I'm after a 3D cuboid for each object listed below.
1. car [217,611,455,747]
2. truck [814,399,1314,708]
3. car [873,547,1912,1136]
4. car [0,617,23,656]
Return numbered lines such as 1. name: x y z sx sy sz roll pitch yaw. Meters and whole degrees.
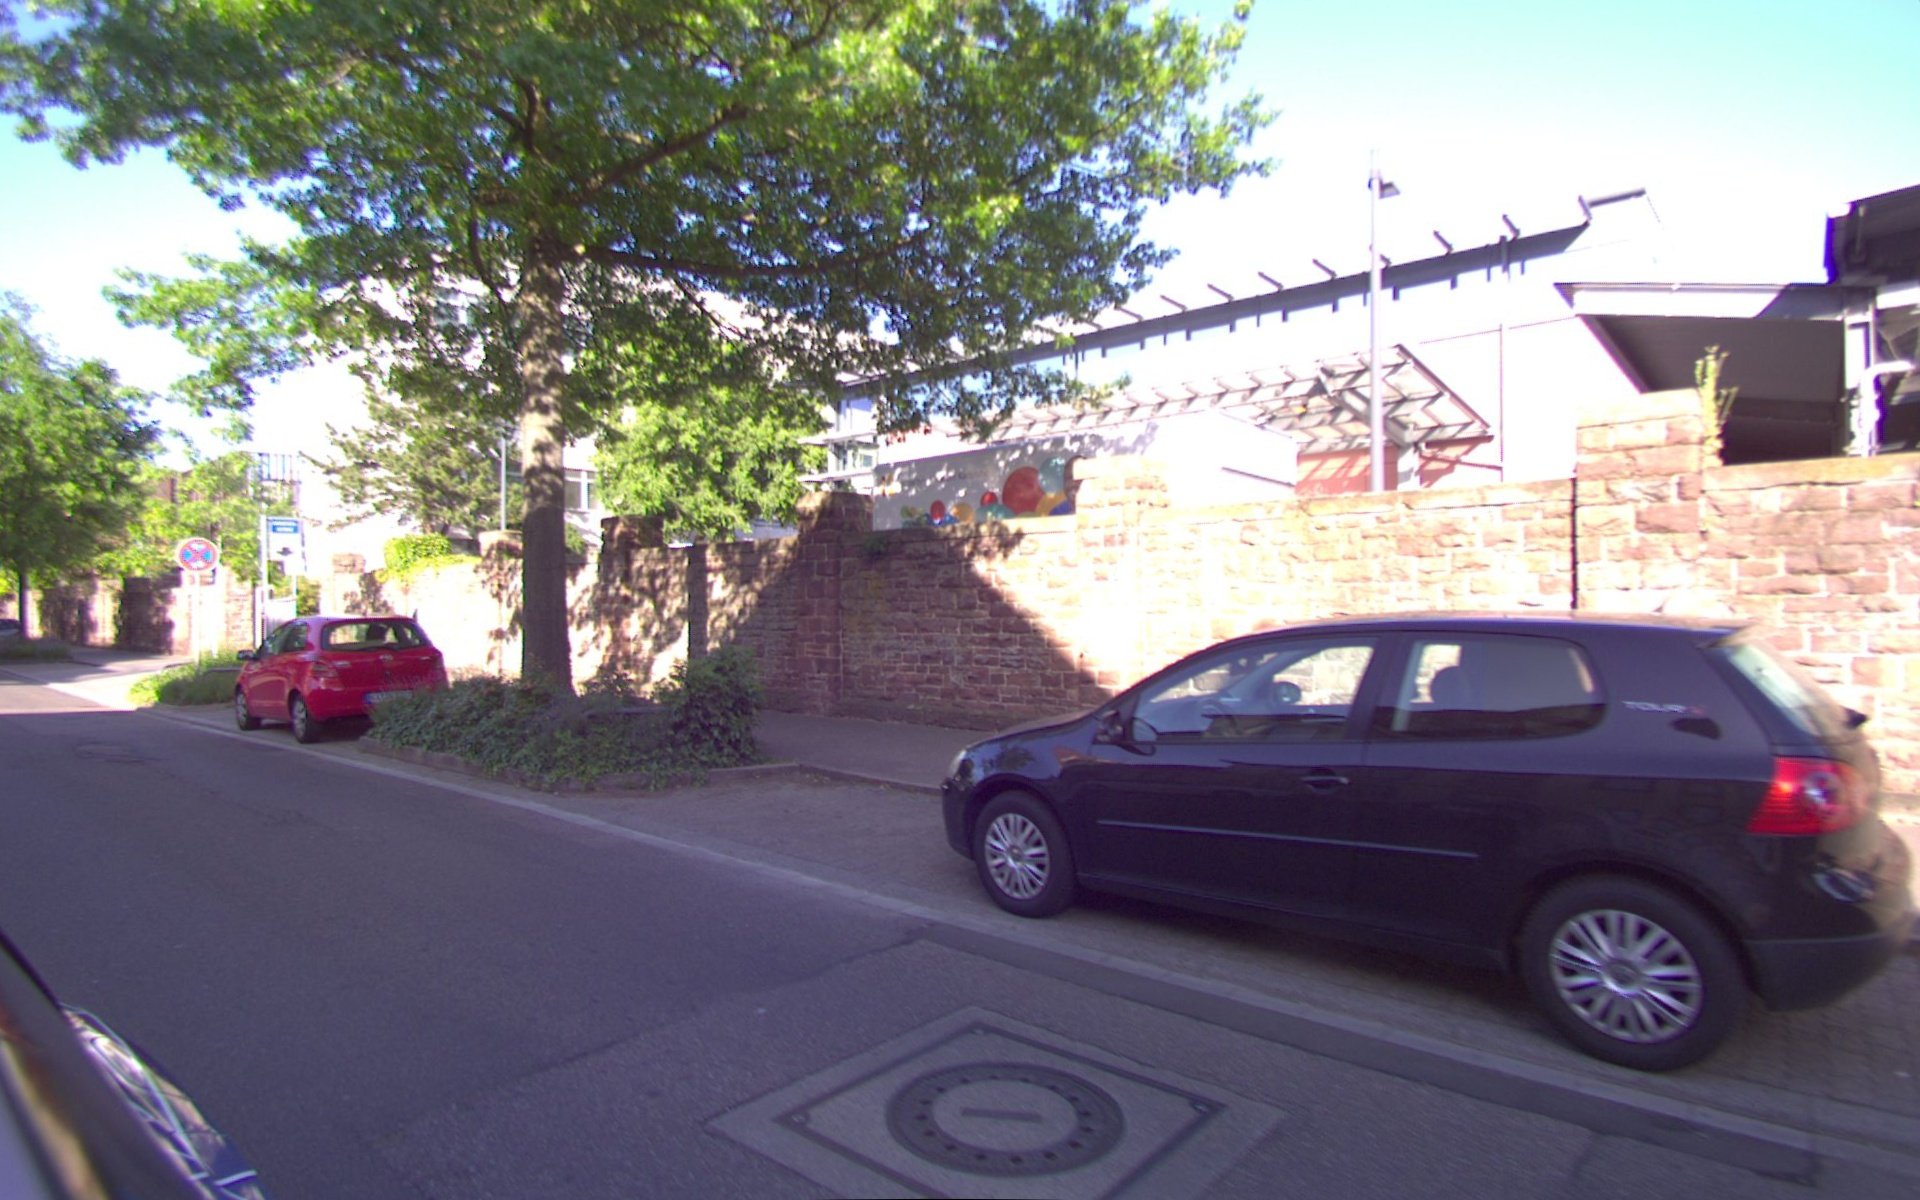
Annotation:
1. car: -8.210 0.926 13.201 3.706 1.470 1.592 -1 1 41
2. truck: 1.279 -0.532 15.705 7.423 3.739 2.705 -1 1 40
3. car: 1.623 0.694 4.787 4.105 1.604 1.718 -2 -1 42
4. car: -37.326 1.412 38.761 3.836 1.432 1.670 -1 1 41
